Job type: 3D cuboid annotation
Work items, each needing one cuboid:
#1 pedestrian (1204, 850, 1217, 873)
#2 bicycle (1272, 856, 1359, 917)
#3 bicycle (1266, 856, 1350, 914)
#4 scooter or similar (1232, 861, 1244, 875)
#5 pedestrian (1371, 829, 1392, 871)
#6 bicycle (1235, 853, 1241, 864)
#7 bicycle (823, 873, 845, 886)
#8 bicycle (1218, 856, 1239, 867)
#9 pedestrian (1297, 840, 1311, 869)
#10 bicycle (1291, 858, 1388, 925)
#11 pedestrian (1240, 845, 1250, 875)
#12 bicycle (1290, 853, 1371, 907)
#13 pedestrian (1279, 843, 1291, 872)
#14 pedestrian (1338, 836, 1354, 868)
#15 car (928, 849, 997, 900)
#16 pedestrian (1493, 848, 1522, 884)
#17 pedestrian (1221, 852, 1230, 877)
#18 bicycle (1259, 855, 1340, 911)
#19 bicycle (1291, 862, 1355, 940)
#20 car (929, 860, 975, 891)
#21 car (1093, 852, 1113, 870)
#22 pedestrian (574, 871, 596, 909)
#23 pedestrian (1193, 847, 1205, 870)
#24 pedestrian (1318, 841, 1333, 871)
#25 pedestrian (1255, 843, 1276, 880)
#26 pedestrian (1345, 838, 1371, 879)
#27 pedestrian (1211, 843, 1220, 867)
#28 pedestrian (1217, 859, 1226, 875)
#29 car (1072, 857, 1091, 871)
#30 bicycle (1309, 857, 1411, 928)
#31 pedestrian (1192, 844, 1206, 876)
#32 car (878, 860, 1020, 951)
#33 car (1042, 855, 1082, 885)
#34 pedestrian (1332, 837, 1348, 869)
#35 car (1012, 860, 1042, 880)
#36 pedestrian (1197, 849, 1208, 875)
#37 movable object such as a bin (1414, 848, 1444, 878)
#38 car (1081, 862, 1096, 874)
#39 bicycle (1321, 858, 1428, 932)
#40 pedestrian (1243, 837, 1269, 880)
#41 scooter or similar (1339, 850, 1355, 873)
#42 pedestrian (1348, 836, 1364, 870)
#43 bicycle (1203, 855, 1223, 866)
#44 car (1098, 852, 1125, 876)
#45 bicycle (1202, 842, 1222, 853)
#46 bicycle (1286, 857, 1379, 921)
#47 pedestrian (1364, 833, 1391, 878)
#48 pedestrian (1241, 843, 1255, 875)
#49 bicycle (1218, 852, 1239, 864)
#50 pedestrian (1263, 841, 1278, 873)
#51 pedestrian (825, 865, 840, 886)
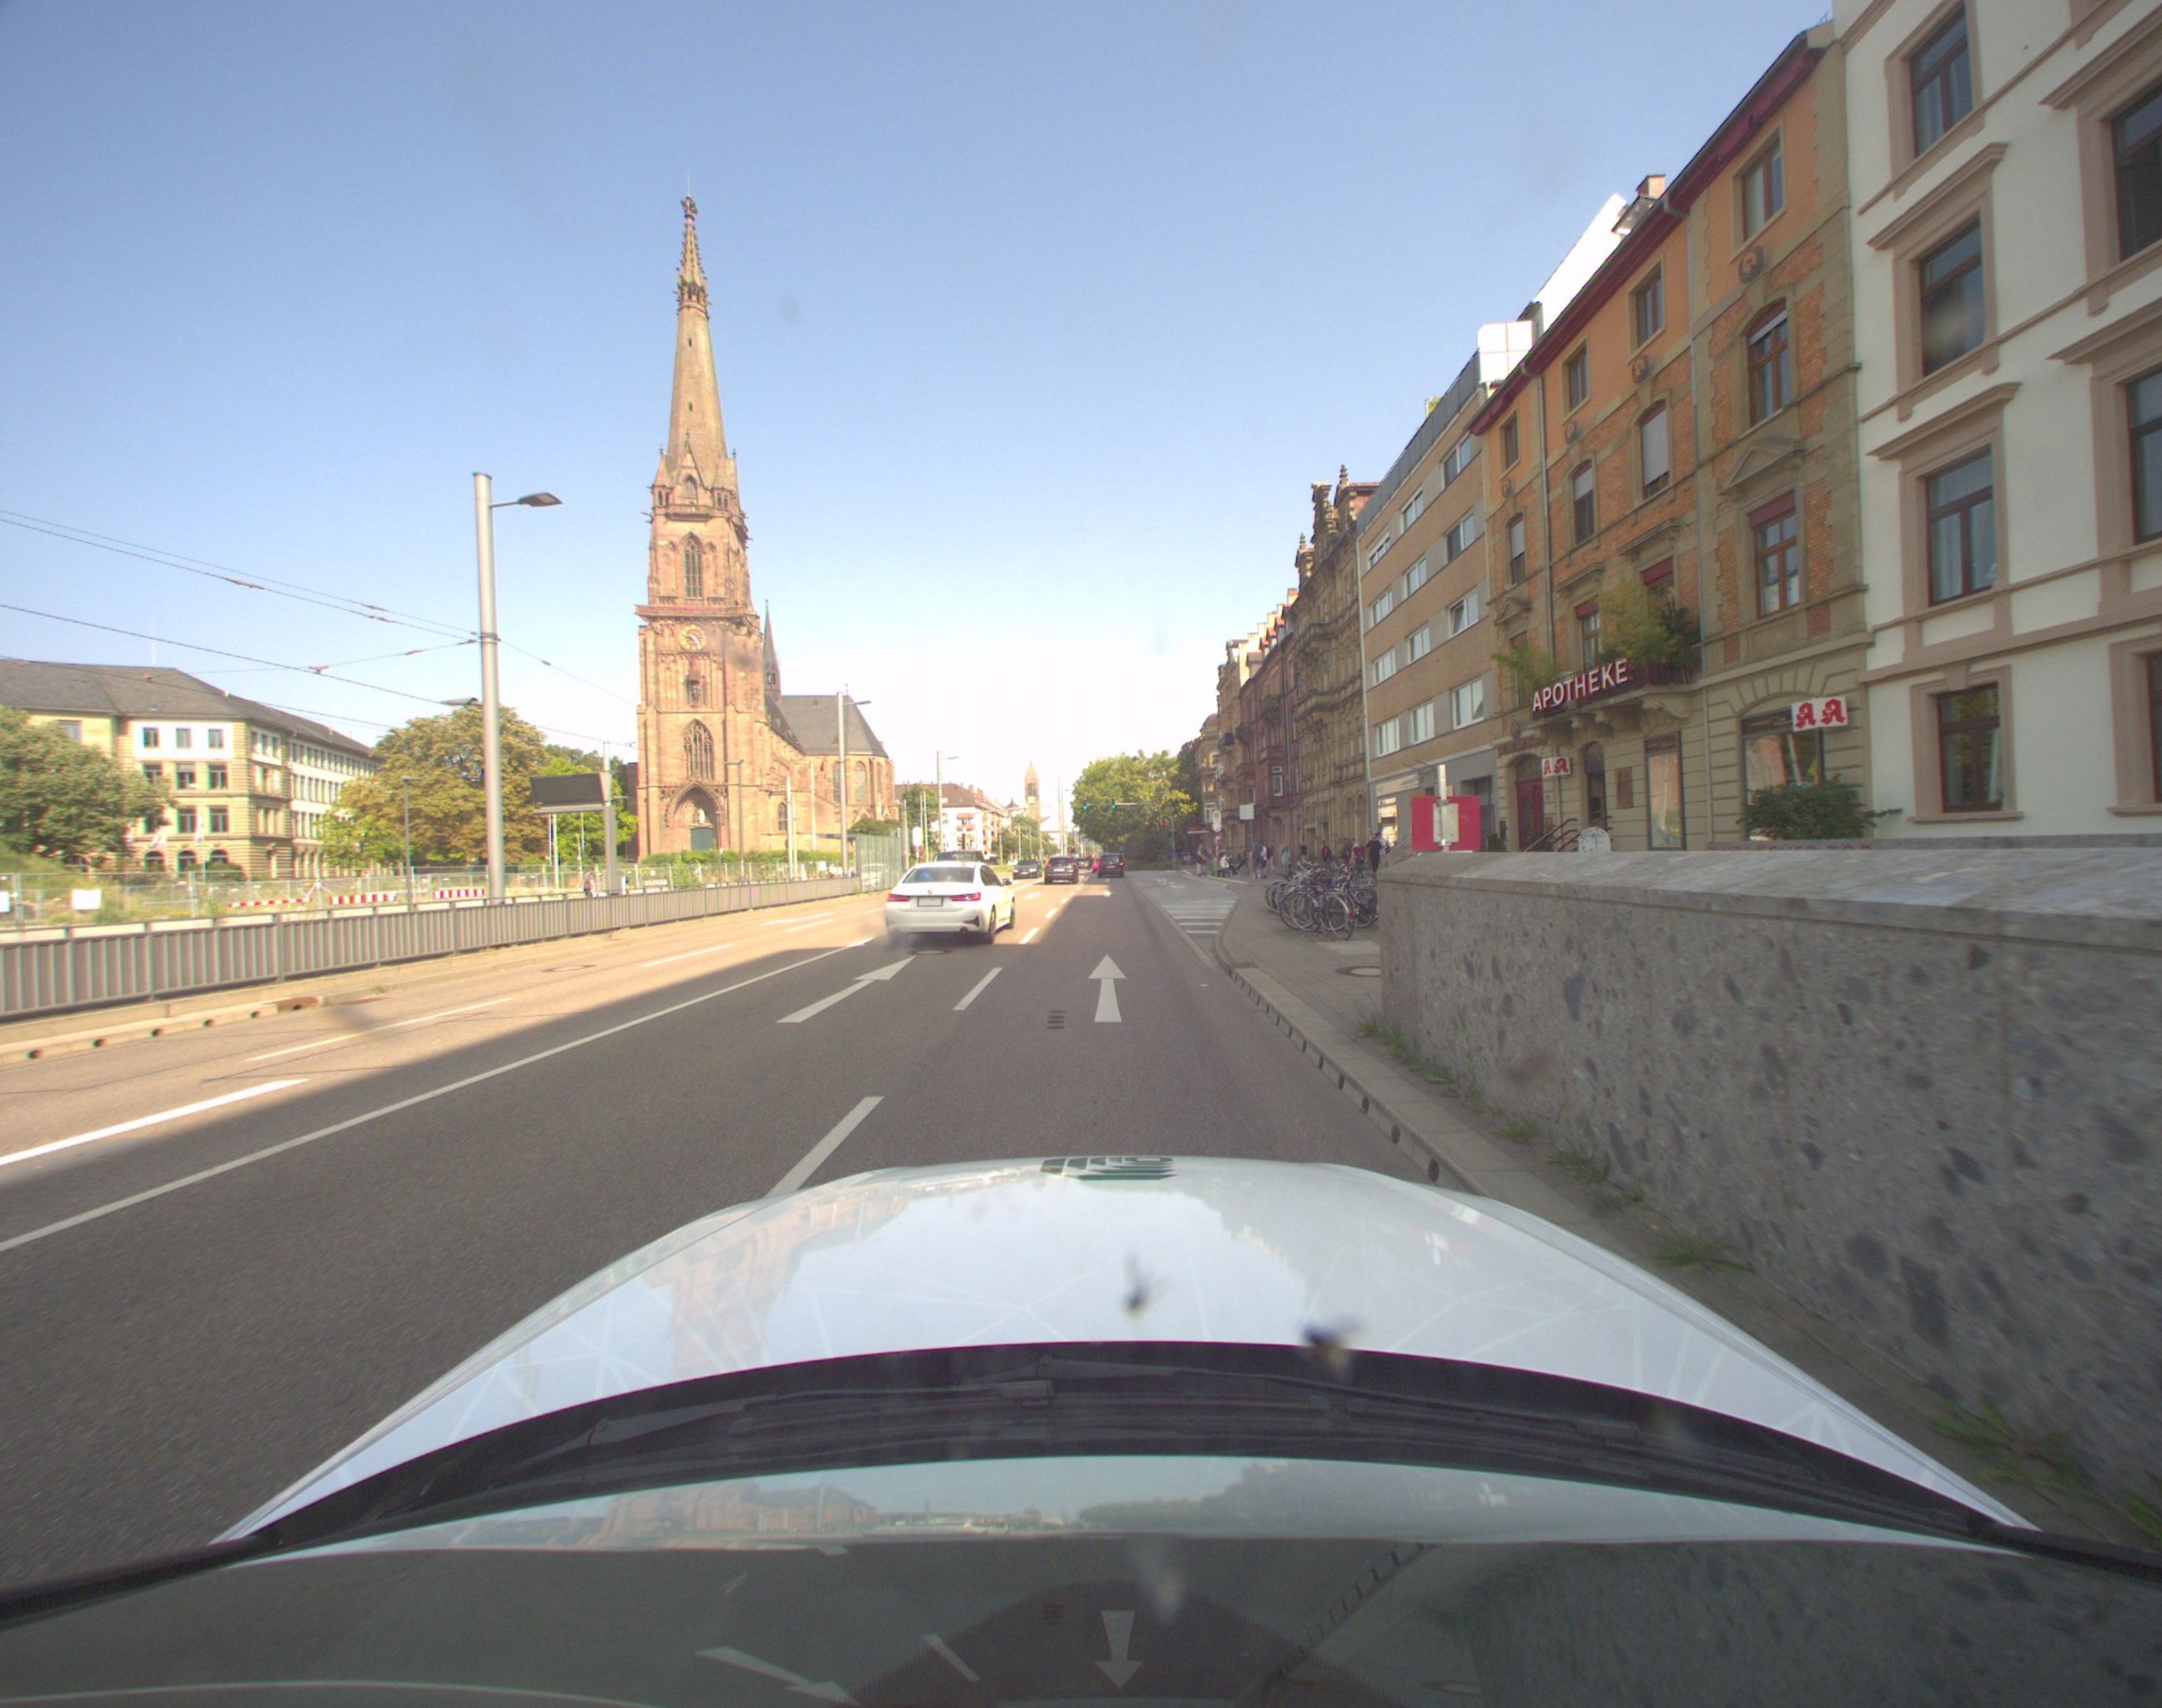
[{"bbox_3d":[7.158,0.416,45.157,0.563,1.277,0.597,-2,0,-2],"label":"pedestrian"},{"bbox_3d":[4.776,0.650,16.592,1.629,1.148,0.385,-3,0,-3],"label":"bicycle"},{"bbox_3d":[4.773,0.644,17.176,1.629,1.148,0.385,-3,0,-3],"label":"bicycle"},{"bbox_3d":[8.642,0.757,44.877,0.563,0.741,0.514,-2,0,-2],"label":"scooter or similar"},{"bbox_3d":[13.346,-0.172,36.173,0.601,1.831,0.742,-2,0,-1],"label":"pedestrian"},{"bbox_3d":[15.015,0.413,77.787,0.414,1.048,1.673,-2,0,7],"label":"bicycle"},{"bbox_3d":[-19.682,2.051,64.893,1.744,0.978,0.482,-3,0,18],"label":"bicycle"},{"bbox_3d":[14.495,0.757,80.135,1.924,1.048,0.499,-2,0,-4],"label":"bicycle"},{"bbox_3d":[13.664,0.009,49.832,0.627,1.719,0.691,-2,0,2],"label":"pedestrian"},{"bbox_3d":[4.742,0.679,14.962,1.629,1.148,0.385,-3,0,-3],"label":"bicycle"},{"bbox_3d":[9.688,0.340,48.059,0.340,1.732,0.805,-2,0,-1],"label":"pedestrian"},{"bbox_3d":[5.622,0.583,18.411,1.625,1.148,0.602,-3,0,3],"label":"bicycle"},{"bbox_3d":[11.844,0.210,47.218,0.484,1.610,0.813,-2,0,3],"label":"pedestrian"},{"bbox_3d":[14.069,-0.110,43.255,0.601,1.692,0.587,-2,0,-2],"label":"pedestrian"},{"bbox_3d":[-4.962,0.818,34.690,1.986,1.904,4.718,-4,0,2],"label":"car"},{"bbox_3d":[12.014,0.339,22.943,0.606,0.982,0.640,-3,0,22],"label":"pedestrian"},{"bbox_3d":[7.447,0.522,42.015,0.274,1.274,0.447,-2,0,-5],"label":"pedestrian"},{"bbox_3d":[4.793,0.633,17.877,1.629,1.148,0.385,-3,0,-3],"label":"bicycle"},{"bbox_3d":[3.875,0.723,13.158,0.406,1.148,1.654,-2,0,-4],"label":"bicycle"},{"bbox_3d":[-7.428,1.205,47.333,1.707,1.611,4.506,-4,0,2],"label":"car"},{"bbox_3d":[2.074,0.656,76.091,1.824,1.621,4.359,-1,0,2],"label":"car"},{"bbox_3d":[-22.810,1.645,37.464,0.515,1.700,0.665,-2,0,1],"label":"pedestrian"},{"bbox_3d":[8.612,0.338,59.508,0.688,1.664,0.620,-2,0,2],"label":"pedestrian"},{"bbox_3d":[13.790,0.123,46.015,0.601,1.654,0.587,-2,0,-2],"label":"pedestrian"},{"bbox_3d":[8.807,0.348,38.933,0.747,1.729,0.800,-2,0,-2],"label":"pedestrian"},{"bbox_3d":[11.235,0.181,33.068,0.717,1.610,0.857,-2,0,3],"label":"pedestrian"},{"bbox_3d":[9.758,0.059,58.970,0.480,1.702,0.703,-2,0,-1],"label":"pedestrian"},{"bbox_3d":[7.433,0.703,43.105,0.302,0.820,0.603,-2,0,-5],"label":"pedestrian"},{"bbox_3d":[0.065,1.025,87.480,1.857,1.424,4.359,-1,0,2],"label":"car"},{"bbox_3d":[4.902,0.671,14.313,1.629,1.148,0.385,-3,0,-3],"label":"bicycle"},{"bbox_3d":[6.542,0.317,45.190,0.563,1.729,0.745,-2,0,-1],"label":"pedestrian"},{"bbox_3d":[-2.327,0.850,15.611,1.802,1.427,4.776,0,0,2],"label":"car"},{"bbox_3d":[-1.023,0.862,46.736,1.986,1.621,4.359,-1,0,2],"label":"car"},{"bbox_3d":[14.006,-0.079,43.966,0.601,1.692,0.587,-2,0,-2],"label":"pedestrian"},{"bbox_3d":[-3.923,1.152,59.762,1.707,1.331,4.523,-4,0,2],"label":"car"},{"bbox_3d":[7.858,0.528,52.479,0.526,1.612,0.703,-2,0,-1],"label":"pedestrian"},{"bbox_3d":[13.003,0.340,30.410,0.738,1.080,0.666,-2,0,-15],"label":"movable object such as a bin"},{"bbox_3d":[1.014,1.828,108.677,1.857,1.424,4.359,-1,0,2],"label":"car"},{"bbox_3d":[4.922,0.680,13.686,1.629,1.148,0.385,-3,0,-3],"label":"bicycle"},{"bbox_3d":[7.681,0.175,35.770,0.923,1.831,0.800,-2,0,-2],"label":"pedestrian"},{"bbox_3d":[13.423,0.380,41.079,0.359,1.163,1.152,-2,0,0],"label":"scooter or similar"},{"bbox_3d":[14.248,-0.049,42.186,0.601,1.731,0.510,-2,0,-2],"label":"pedestrian"},{"bbox_3d":[13.748,0.699,84.802,1.924,1.048,0.526,-2,-1,-4],"label":"bicycle"},{"bbox_3d":[2.152,0.686,57.676,1.824,1.621,4.359,-1,0,2],"label":"car"},{"bbox_3d":[13.843,-0.709,86.004,1.924,1.048,0.526,-2,0,-4],"label":"bicycle"},{"bbox_3d":[4.843,0.660,15.708,1.629,1.148,0.385,-3,0,-3],"label":"bicycle"},{"bbox_3d":[11.999,0.067,32.990,0.717,1.787,0.857,-2,0,3],"label":"pedestrian"},{"bbox_3d":[9.216,0.287,44.954,0.563,1.729,0.617,-2,0,-2],"label":"pedestrian"},{"bbox_3d":[14.312,0.415,79.267,1.924,1.048,0.499,-2,0,-4],"label":"bicycle"},{"bbox_3d":[10.960,0.174,47.106,0.614,1.804,1.072,-2,0,3],"label":"pedestrian"},{"bbox_3d":[-19.783,1.715,64.926,0.909,1.679,0.605,-3,0,18],"label":"pedestrian"}]
